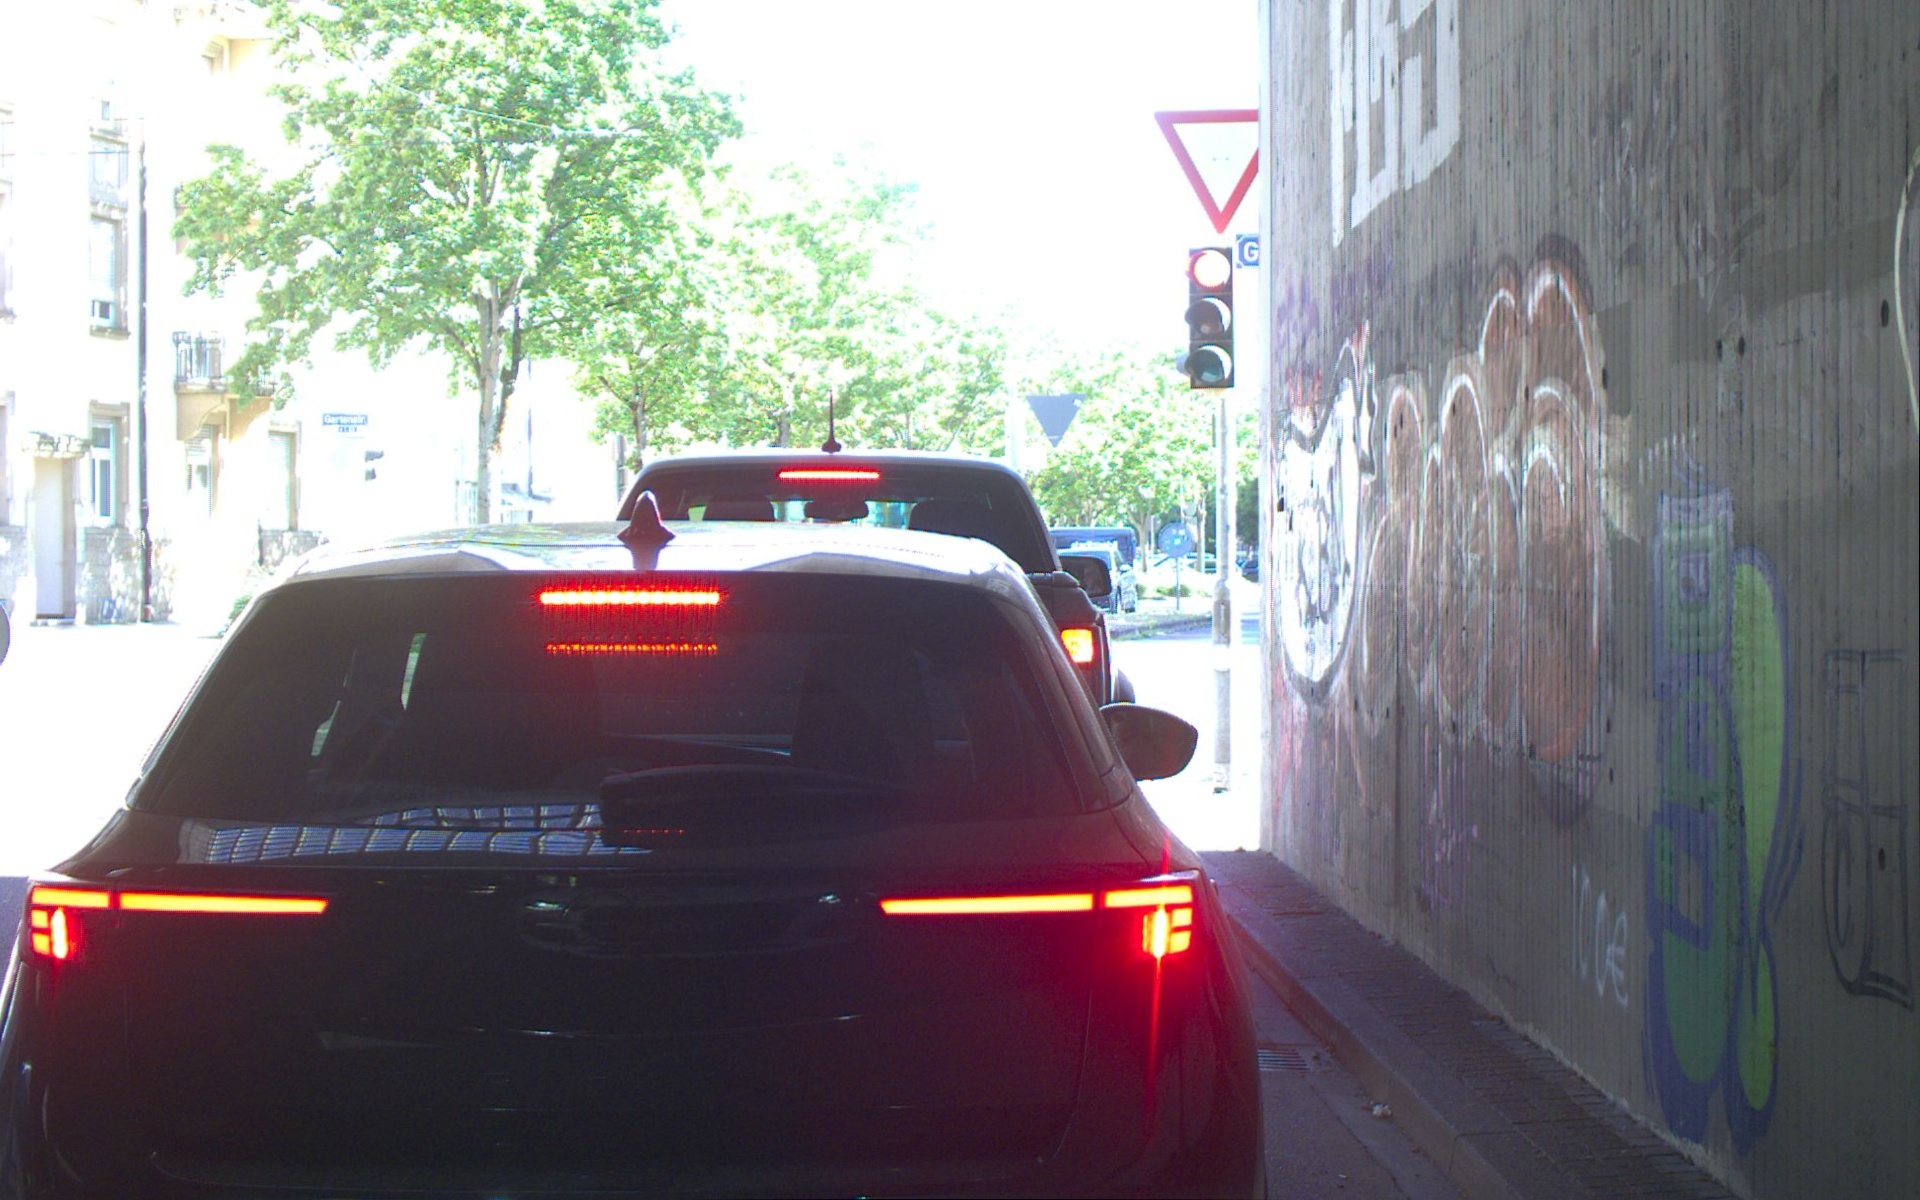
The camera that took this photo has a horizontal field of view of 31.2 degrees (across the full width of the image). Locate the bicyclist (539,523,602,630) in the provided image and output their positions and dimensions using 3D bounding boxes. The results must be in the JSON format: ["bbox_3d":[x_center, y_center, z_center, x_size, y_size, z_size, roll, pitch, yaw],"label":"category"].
[{"bbox_3d":[-5.836,-0.357,51.556,0.729,1.576,0.814,1,0,9],"label":"bicyclist"}]

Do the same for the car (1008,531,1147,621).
[{"bbox_3d":[2.396,-0.449,69.020,2.221,1.713,4.458,0,-1,10],"label":"car"}]

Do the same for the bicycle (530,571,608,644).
[{"bbox_3d":[-5.854,0.099,51.530,0.732,1.064,1.688,1,1,9],"label":"bicycle"}]

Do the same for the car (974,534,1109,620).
[{"bbox_3d":[1.510,-0.392,62.210,1.969,1.492,3.895,0,-1,9],"label":"car"}]

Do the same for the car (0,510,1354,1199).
[{"bbox_3d":[-0.493,0.628,6.085,1.882,1.532,3.964,0,1,-1],"label":"car"}]

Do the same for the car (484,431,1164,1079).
[{"bbox_3d":[-0.413,0.410,11.906,1.945,1.853,3.964,0,1,-1],"label":"car"}]

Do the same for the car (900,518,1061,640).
[{"bbox_3d":[0.300,-0.239,44.188,1.968,1.492,3.896,0,-1,1],"label":"car"}]

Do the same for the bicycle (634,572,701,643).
[{"bbox_3d":[-4.494,0.103,52.958,0.626,1.064,1.688,1,1,9],"label":"bicycle"}]

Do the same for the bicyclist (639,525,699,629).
[{"bbox_3d":[-4.484,-0.353,52.985,0.729,1.576,0.814,1,0,9],"label":"bicyclist"}]
